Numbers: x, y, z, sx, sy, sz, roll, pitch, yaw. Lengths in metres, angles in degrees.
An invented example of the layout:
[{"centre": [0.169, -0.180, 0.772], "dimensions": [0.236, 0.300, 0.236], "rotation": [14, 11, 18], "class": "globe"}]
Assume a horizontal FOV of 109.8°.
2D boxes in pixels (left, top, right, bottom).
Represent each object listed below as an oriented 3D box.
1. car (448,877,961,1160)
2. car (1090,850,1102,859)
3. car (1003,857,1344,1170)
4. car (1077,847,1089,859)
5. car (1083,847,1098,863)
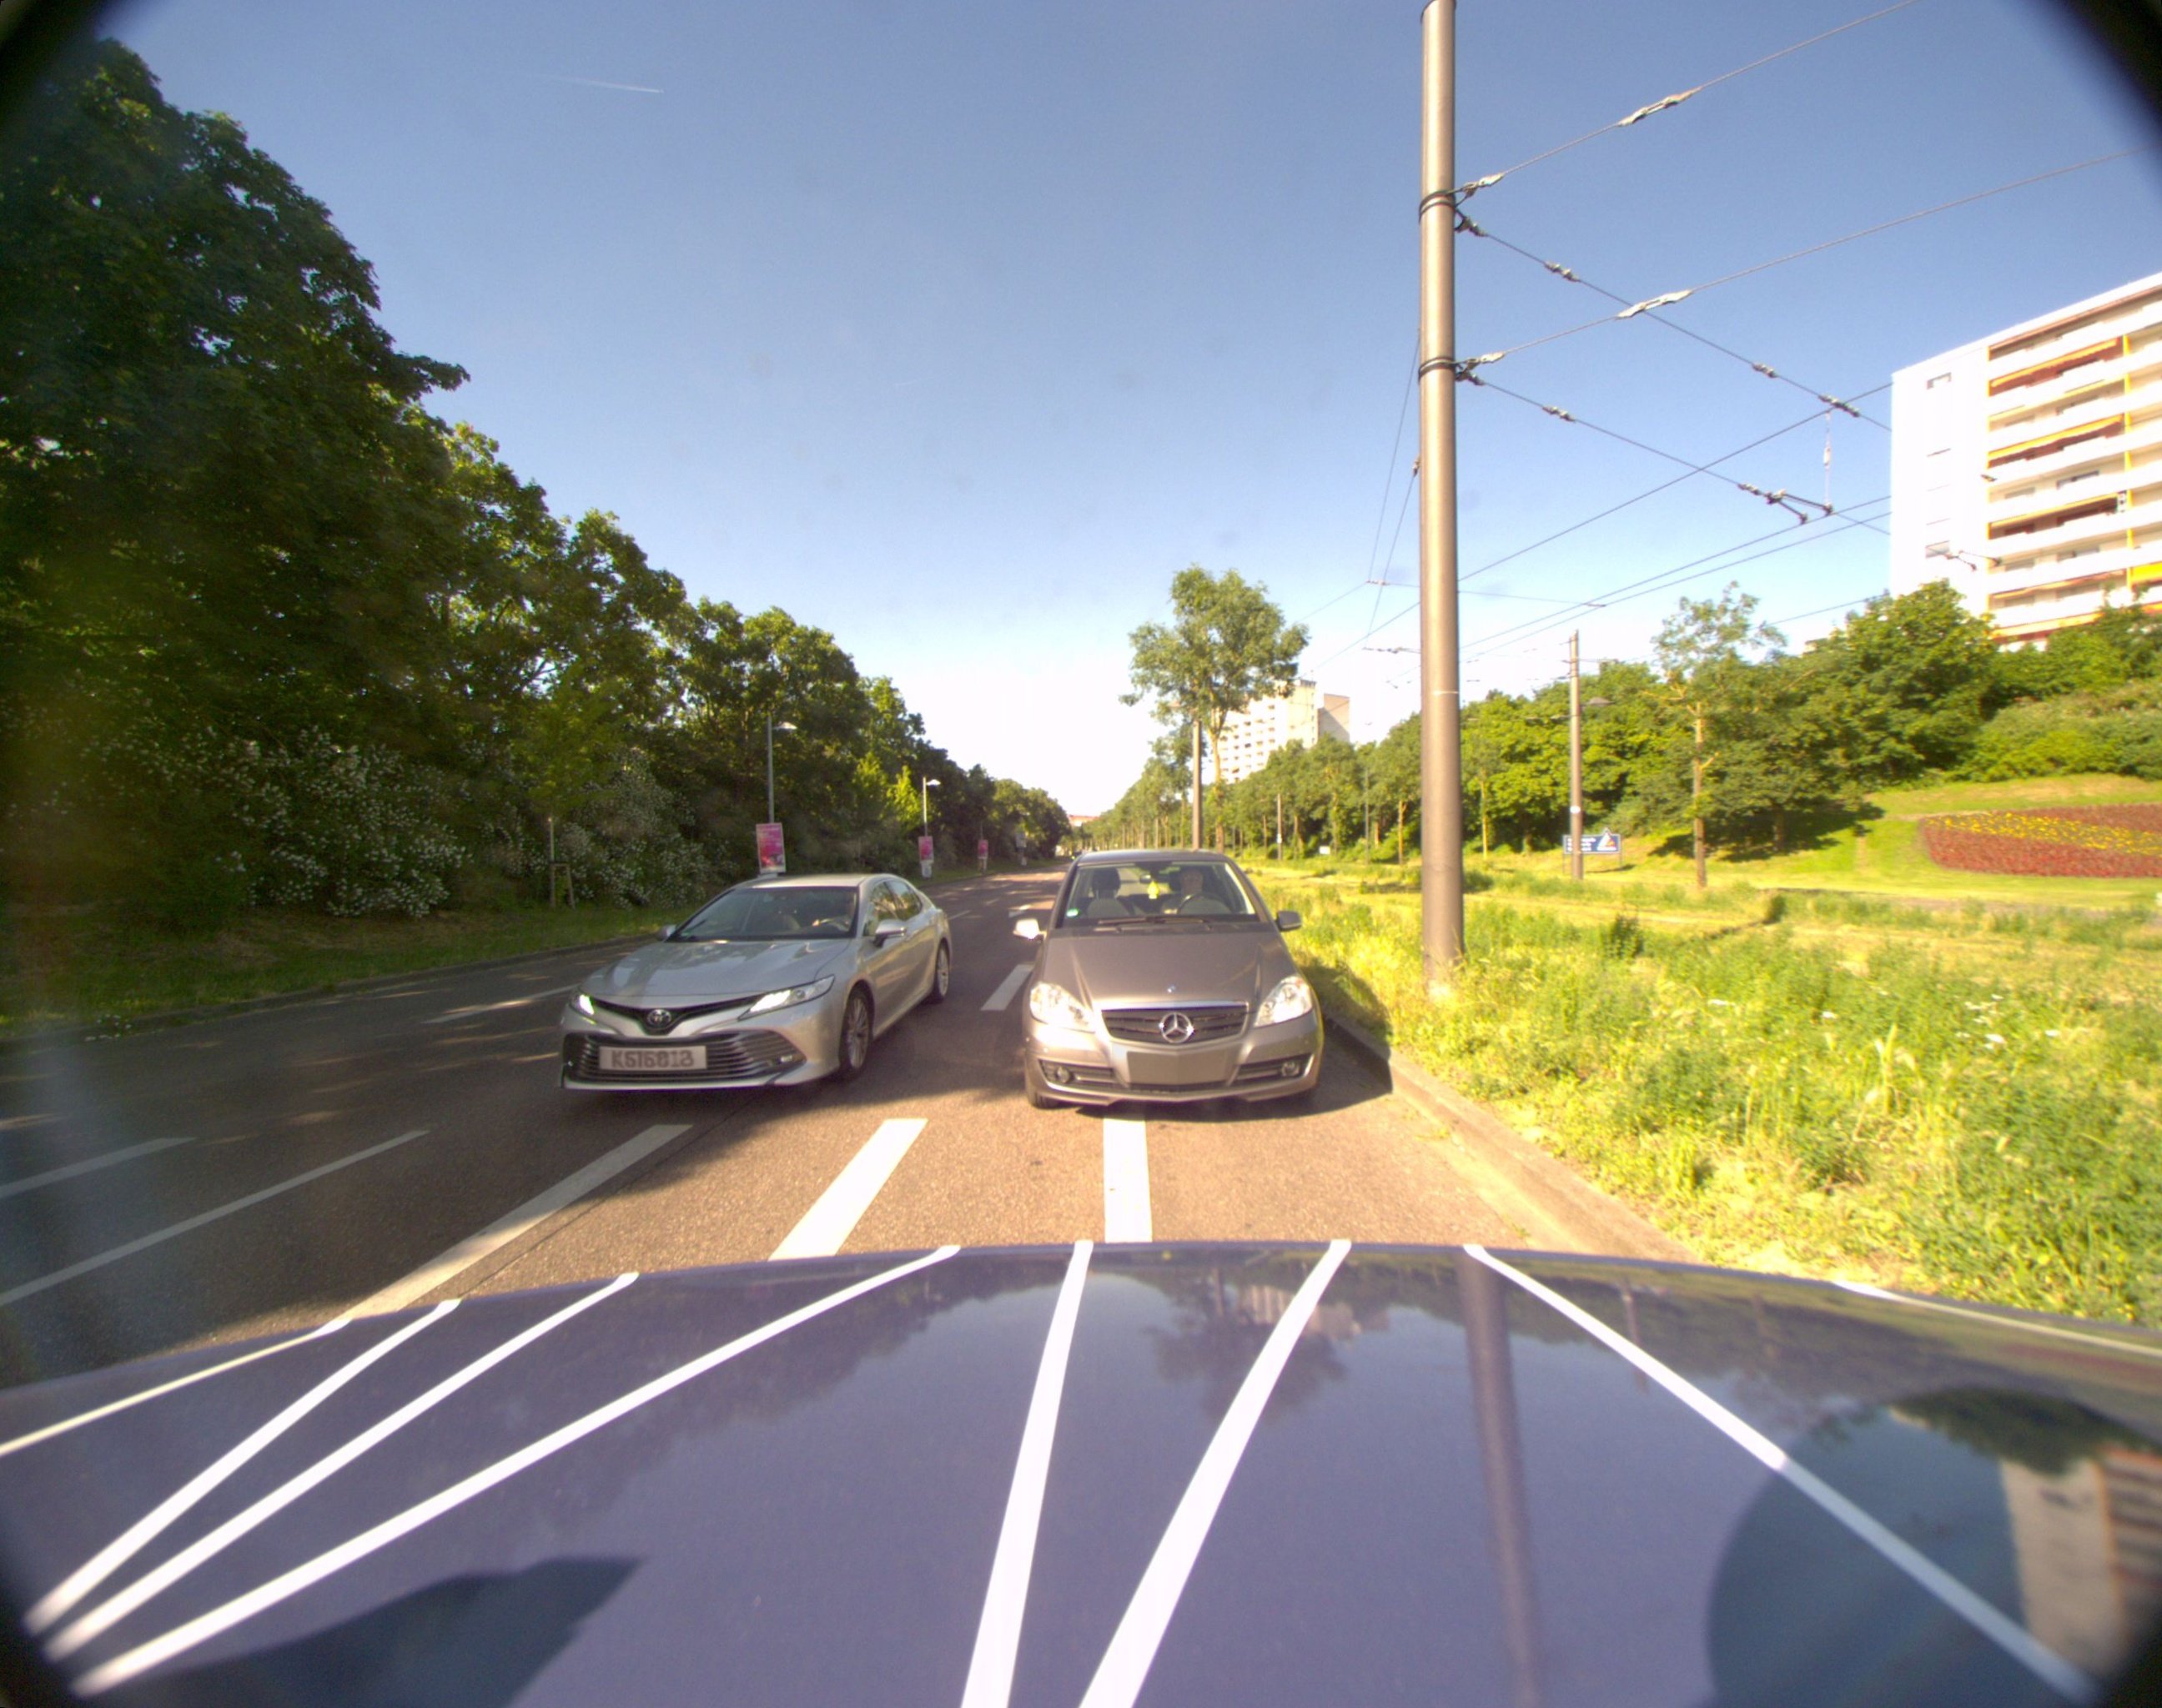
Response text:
[{"centre": [-2.561, 1.032, 6.772], "dimensions": [2.069, 1.451, 4.749], "rotation": [-1, 0, 2], "class": "car"}, {"centre": [2.248, 0.089, 114.954], "dimensions": [1.776, 1.395, 4.067], "rotation": [-1, 0, 2], "class": "car"}, {"centre": [0.517, 0.853, 6.201], "dimensions": [1.777, 1.597, 4.384], "rotation": [-1, 0, 1], "class": "car"}, {"centre": [0.363, -0.210, 127.312], "dimensions": [1.998, 1.882, 5.148], "rotation": [-1, 0, 1], "class": "car"}, {"centre": [1.243, 0.088, 95.901], "dimensions": [1.822, 1.893, 4.622], "rotation": [-1, 0, 2], "class": "car"}]
